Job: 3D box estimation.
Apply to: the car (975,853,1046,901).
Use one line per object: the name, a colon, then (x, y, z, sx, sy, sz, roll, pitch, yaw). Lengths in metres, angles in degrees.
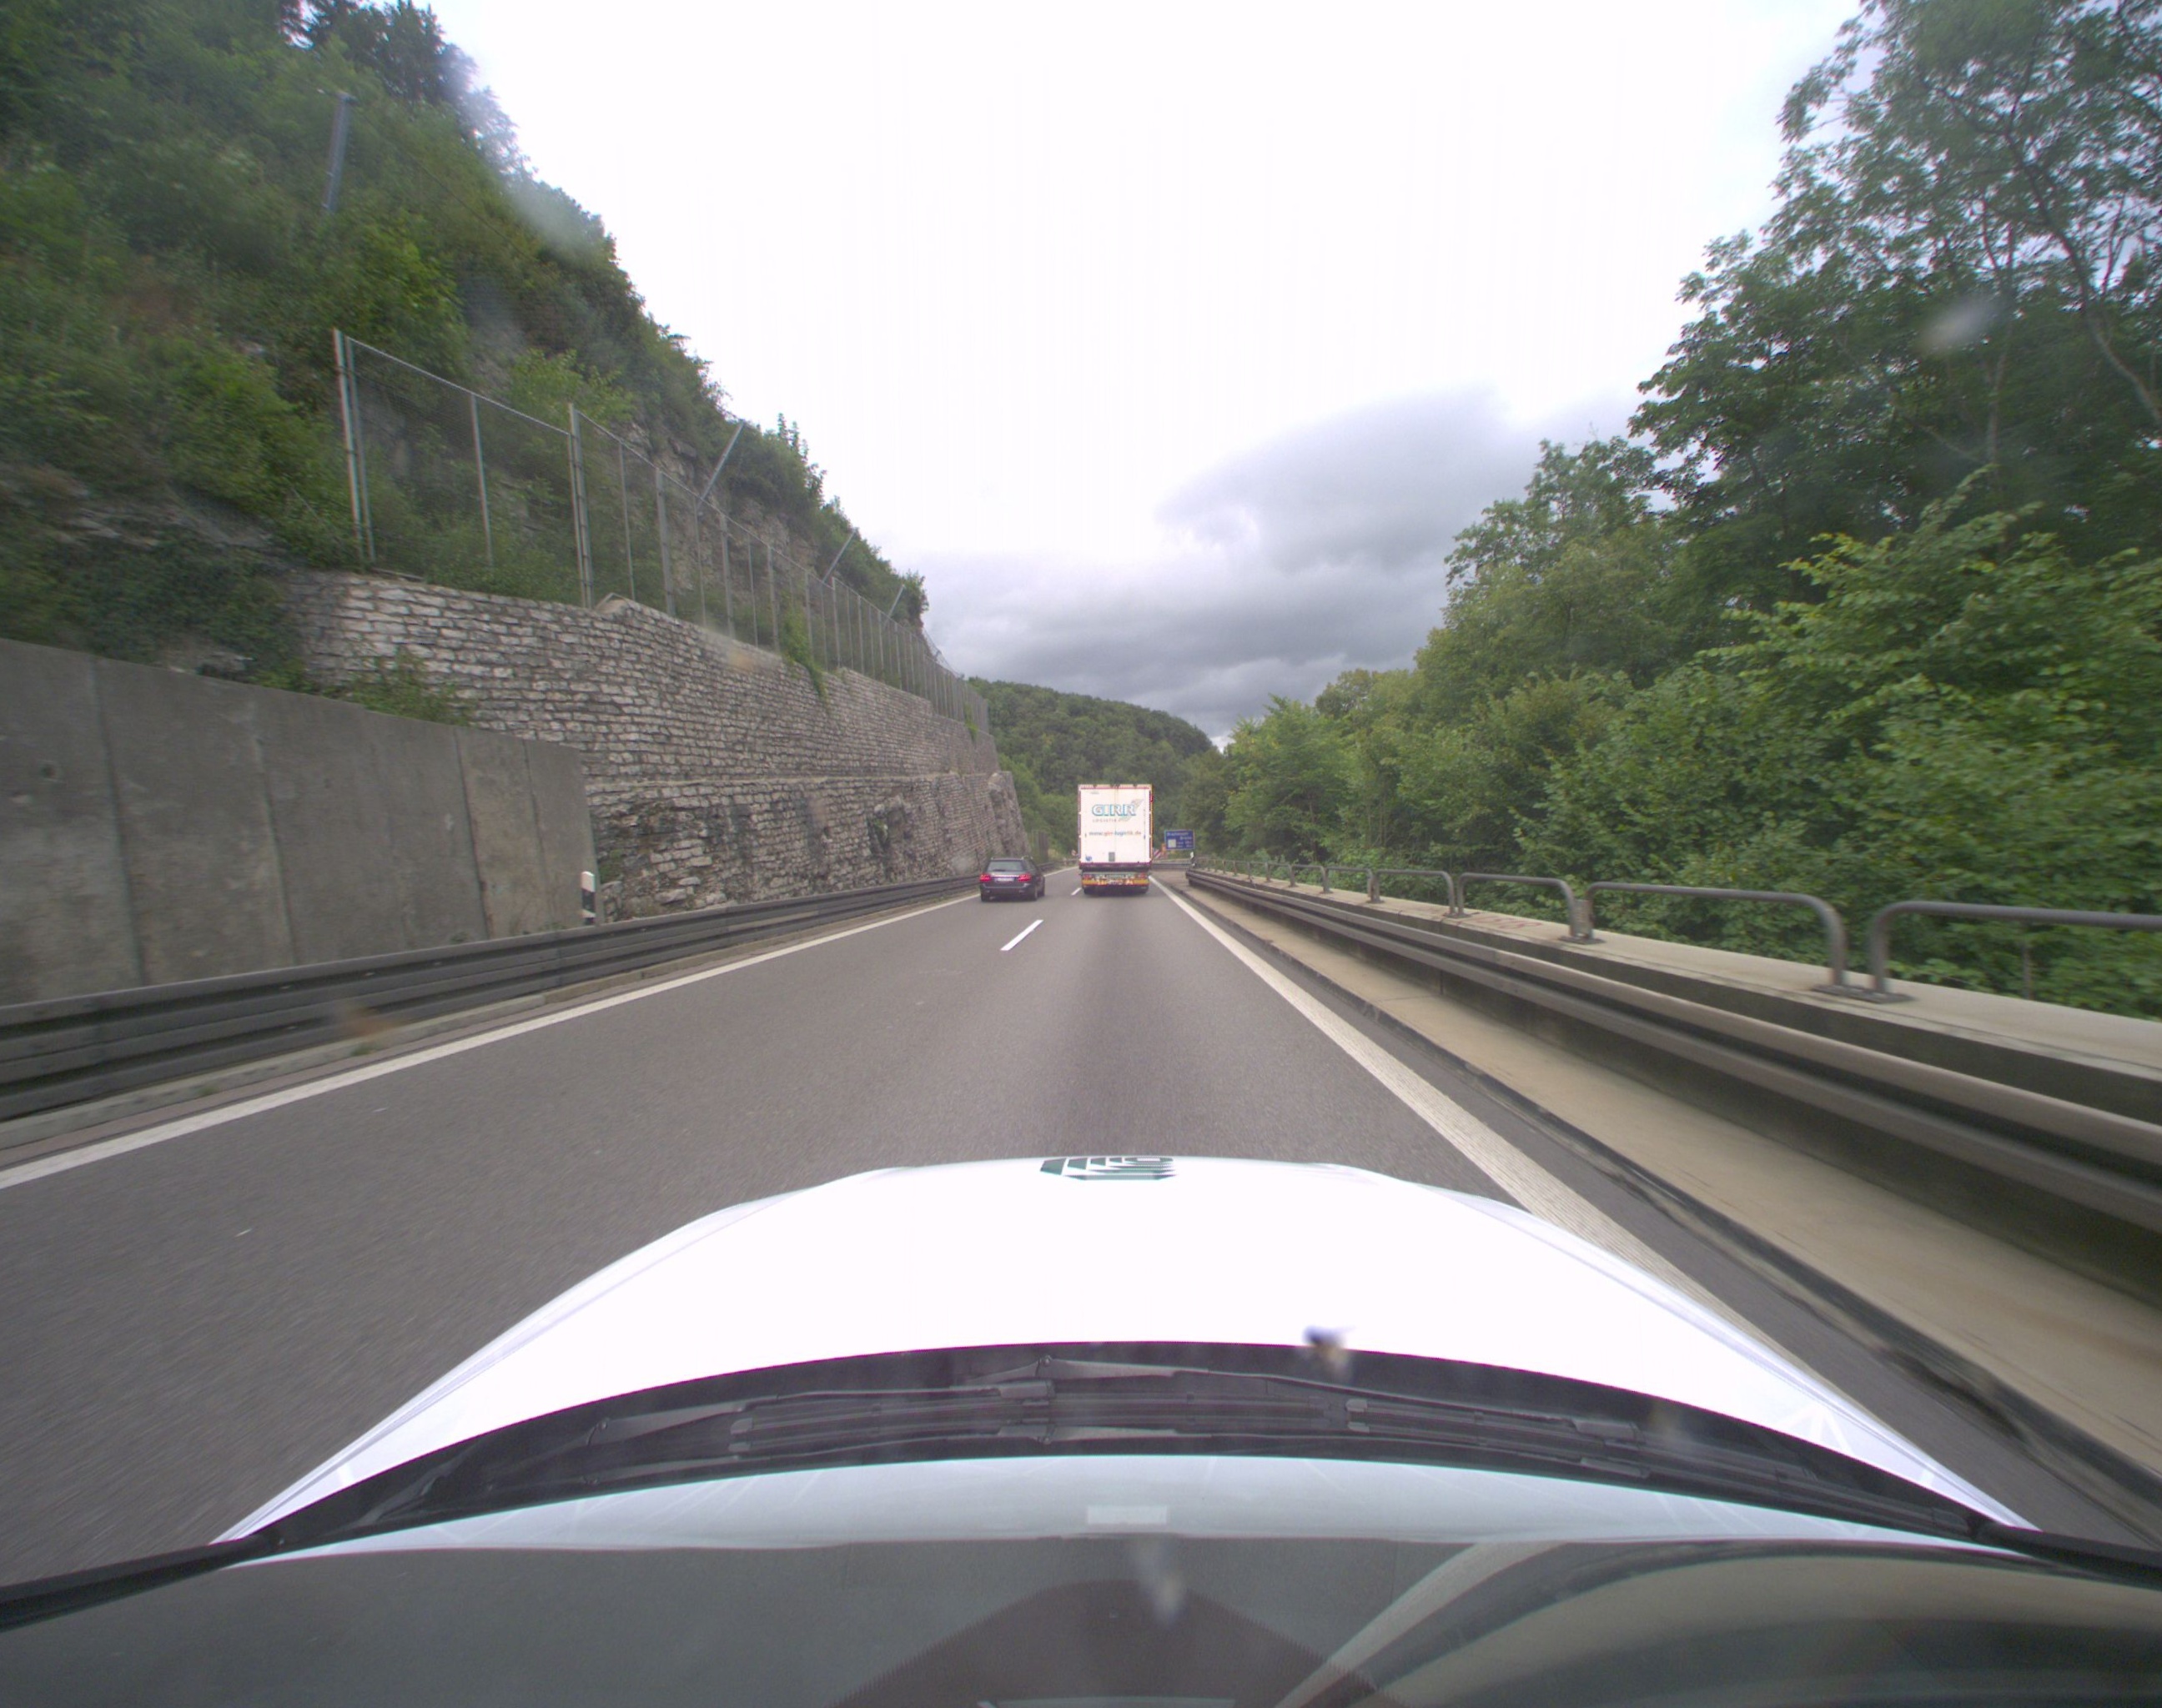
car: (-2.342, 0.754, 28.126, 1.876, 1.510, 4.421, -1, -1, 2)

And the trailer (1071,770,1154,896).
trailer: (1.399, -0.653, 34.166, 2.802, 4.302, 12.253, -1, -1, 3)

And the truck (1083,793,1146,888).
truck: (1.709, -0.597, 40.648, 2.802, 4.302, 6.263, -1, -1, 3)
